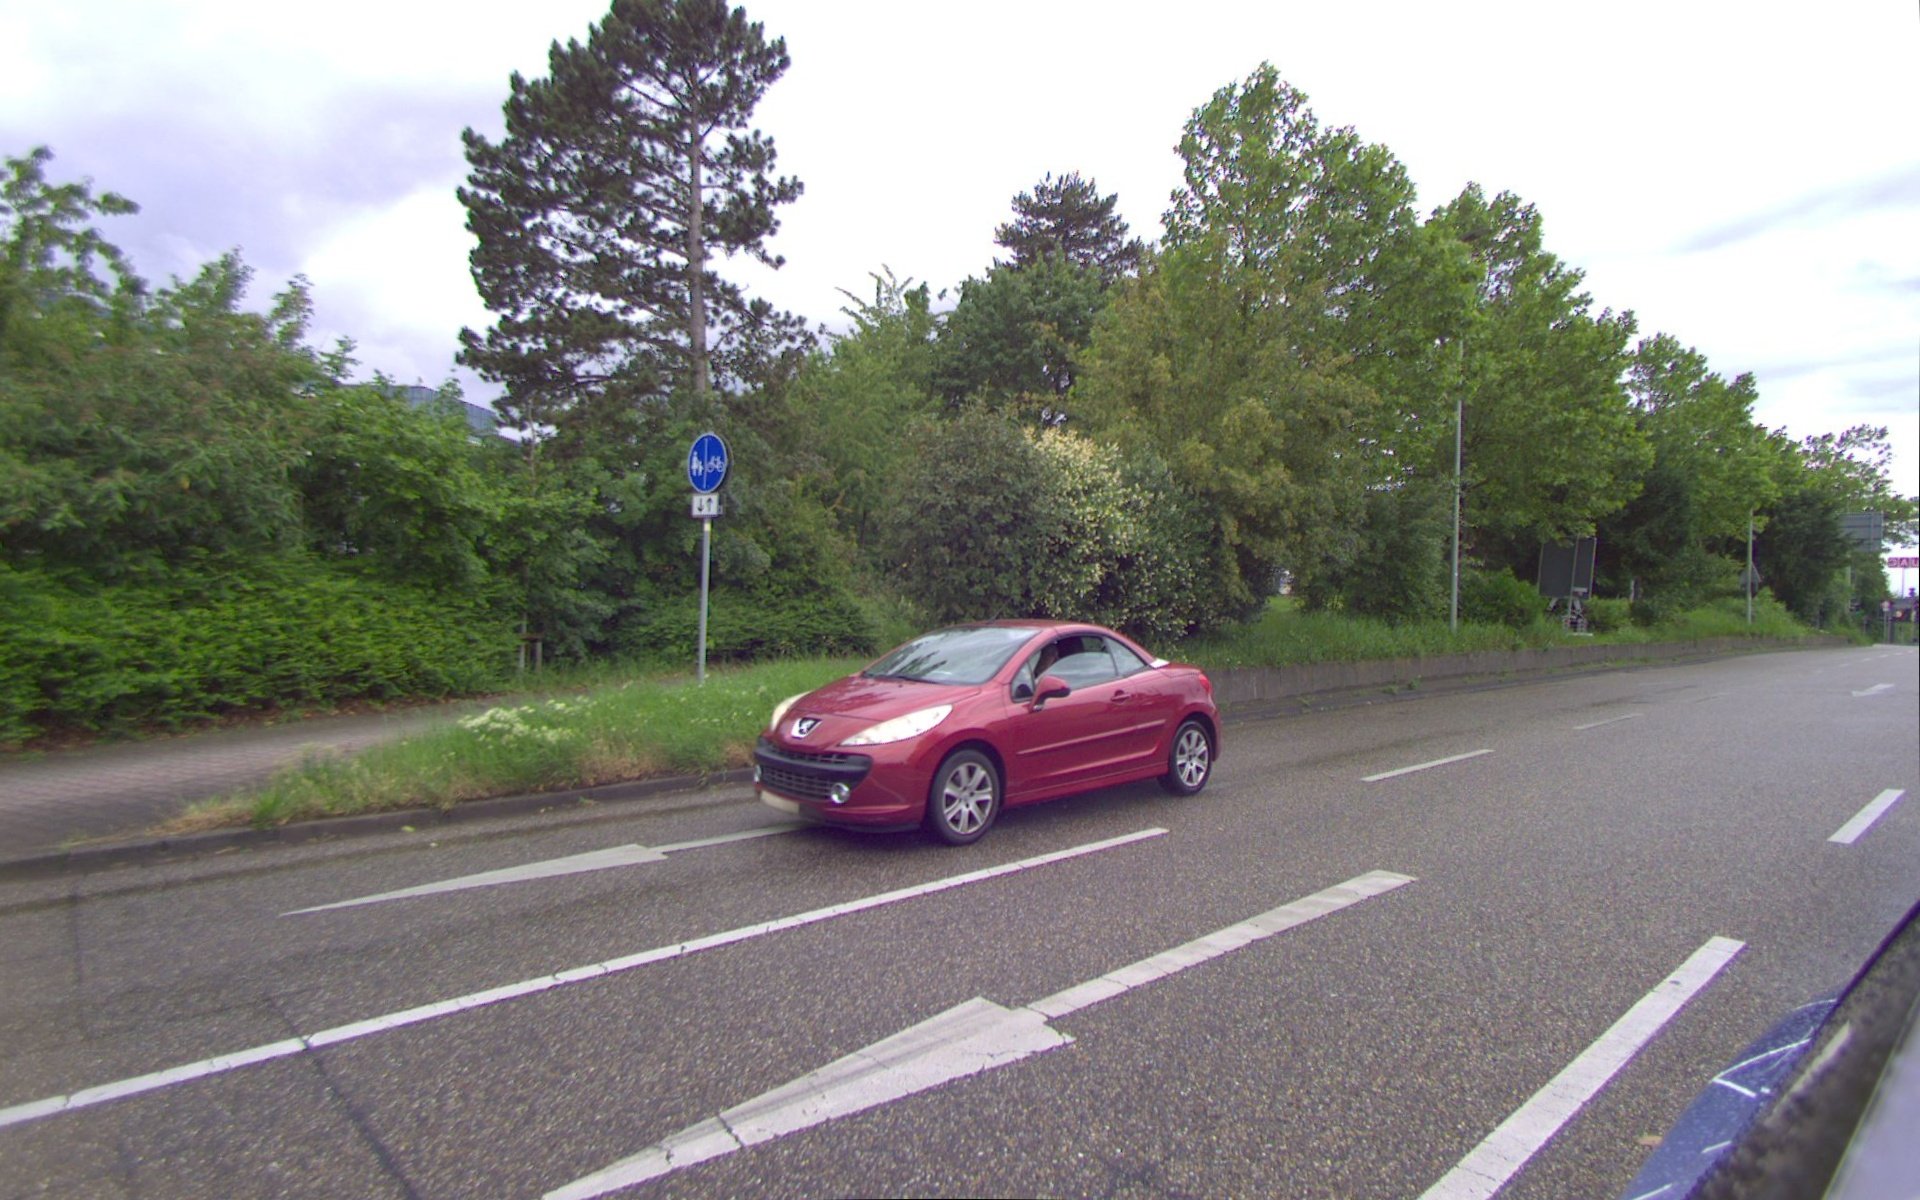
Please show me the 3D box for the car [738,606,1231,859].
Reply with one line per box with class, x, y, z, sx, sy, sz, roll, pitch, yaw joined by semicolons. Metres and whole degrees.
car;0.337;0.771;7.632;3.627;1.421;1.627;0;0;-43
